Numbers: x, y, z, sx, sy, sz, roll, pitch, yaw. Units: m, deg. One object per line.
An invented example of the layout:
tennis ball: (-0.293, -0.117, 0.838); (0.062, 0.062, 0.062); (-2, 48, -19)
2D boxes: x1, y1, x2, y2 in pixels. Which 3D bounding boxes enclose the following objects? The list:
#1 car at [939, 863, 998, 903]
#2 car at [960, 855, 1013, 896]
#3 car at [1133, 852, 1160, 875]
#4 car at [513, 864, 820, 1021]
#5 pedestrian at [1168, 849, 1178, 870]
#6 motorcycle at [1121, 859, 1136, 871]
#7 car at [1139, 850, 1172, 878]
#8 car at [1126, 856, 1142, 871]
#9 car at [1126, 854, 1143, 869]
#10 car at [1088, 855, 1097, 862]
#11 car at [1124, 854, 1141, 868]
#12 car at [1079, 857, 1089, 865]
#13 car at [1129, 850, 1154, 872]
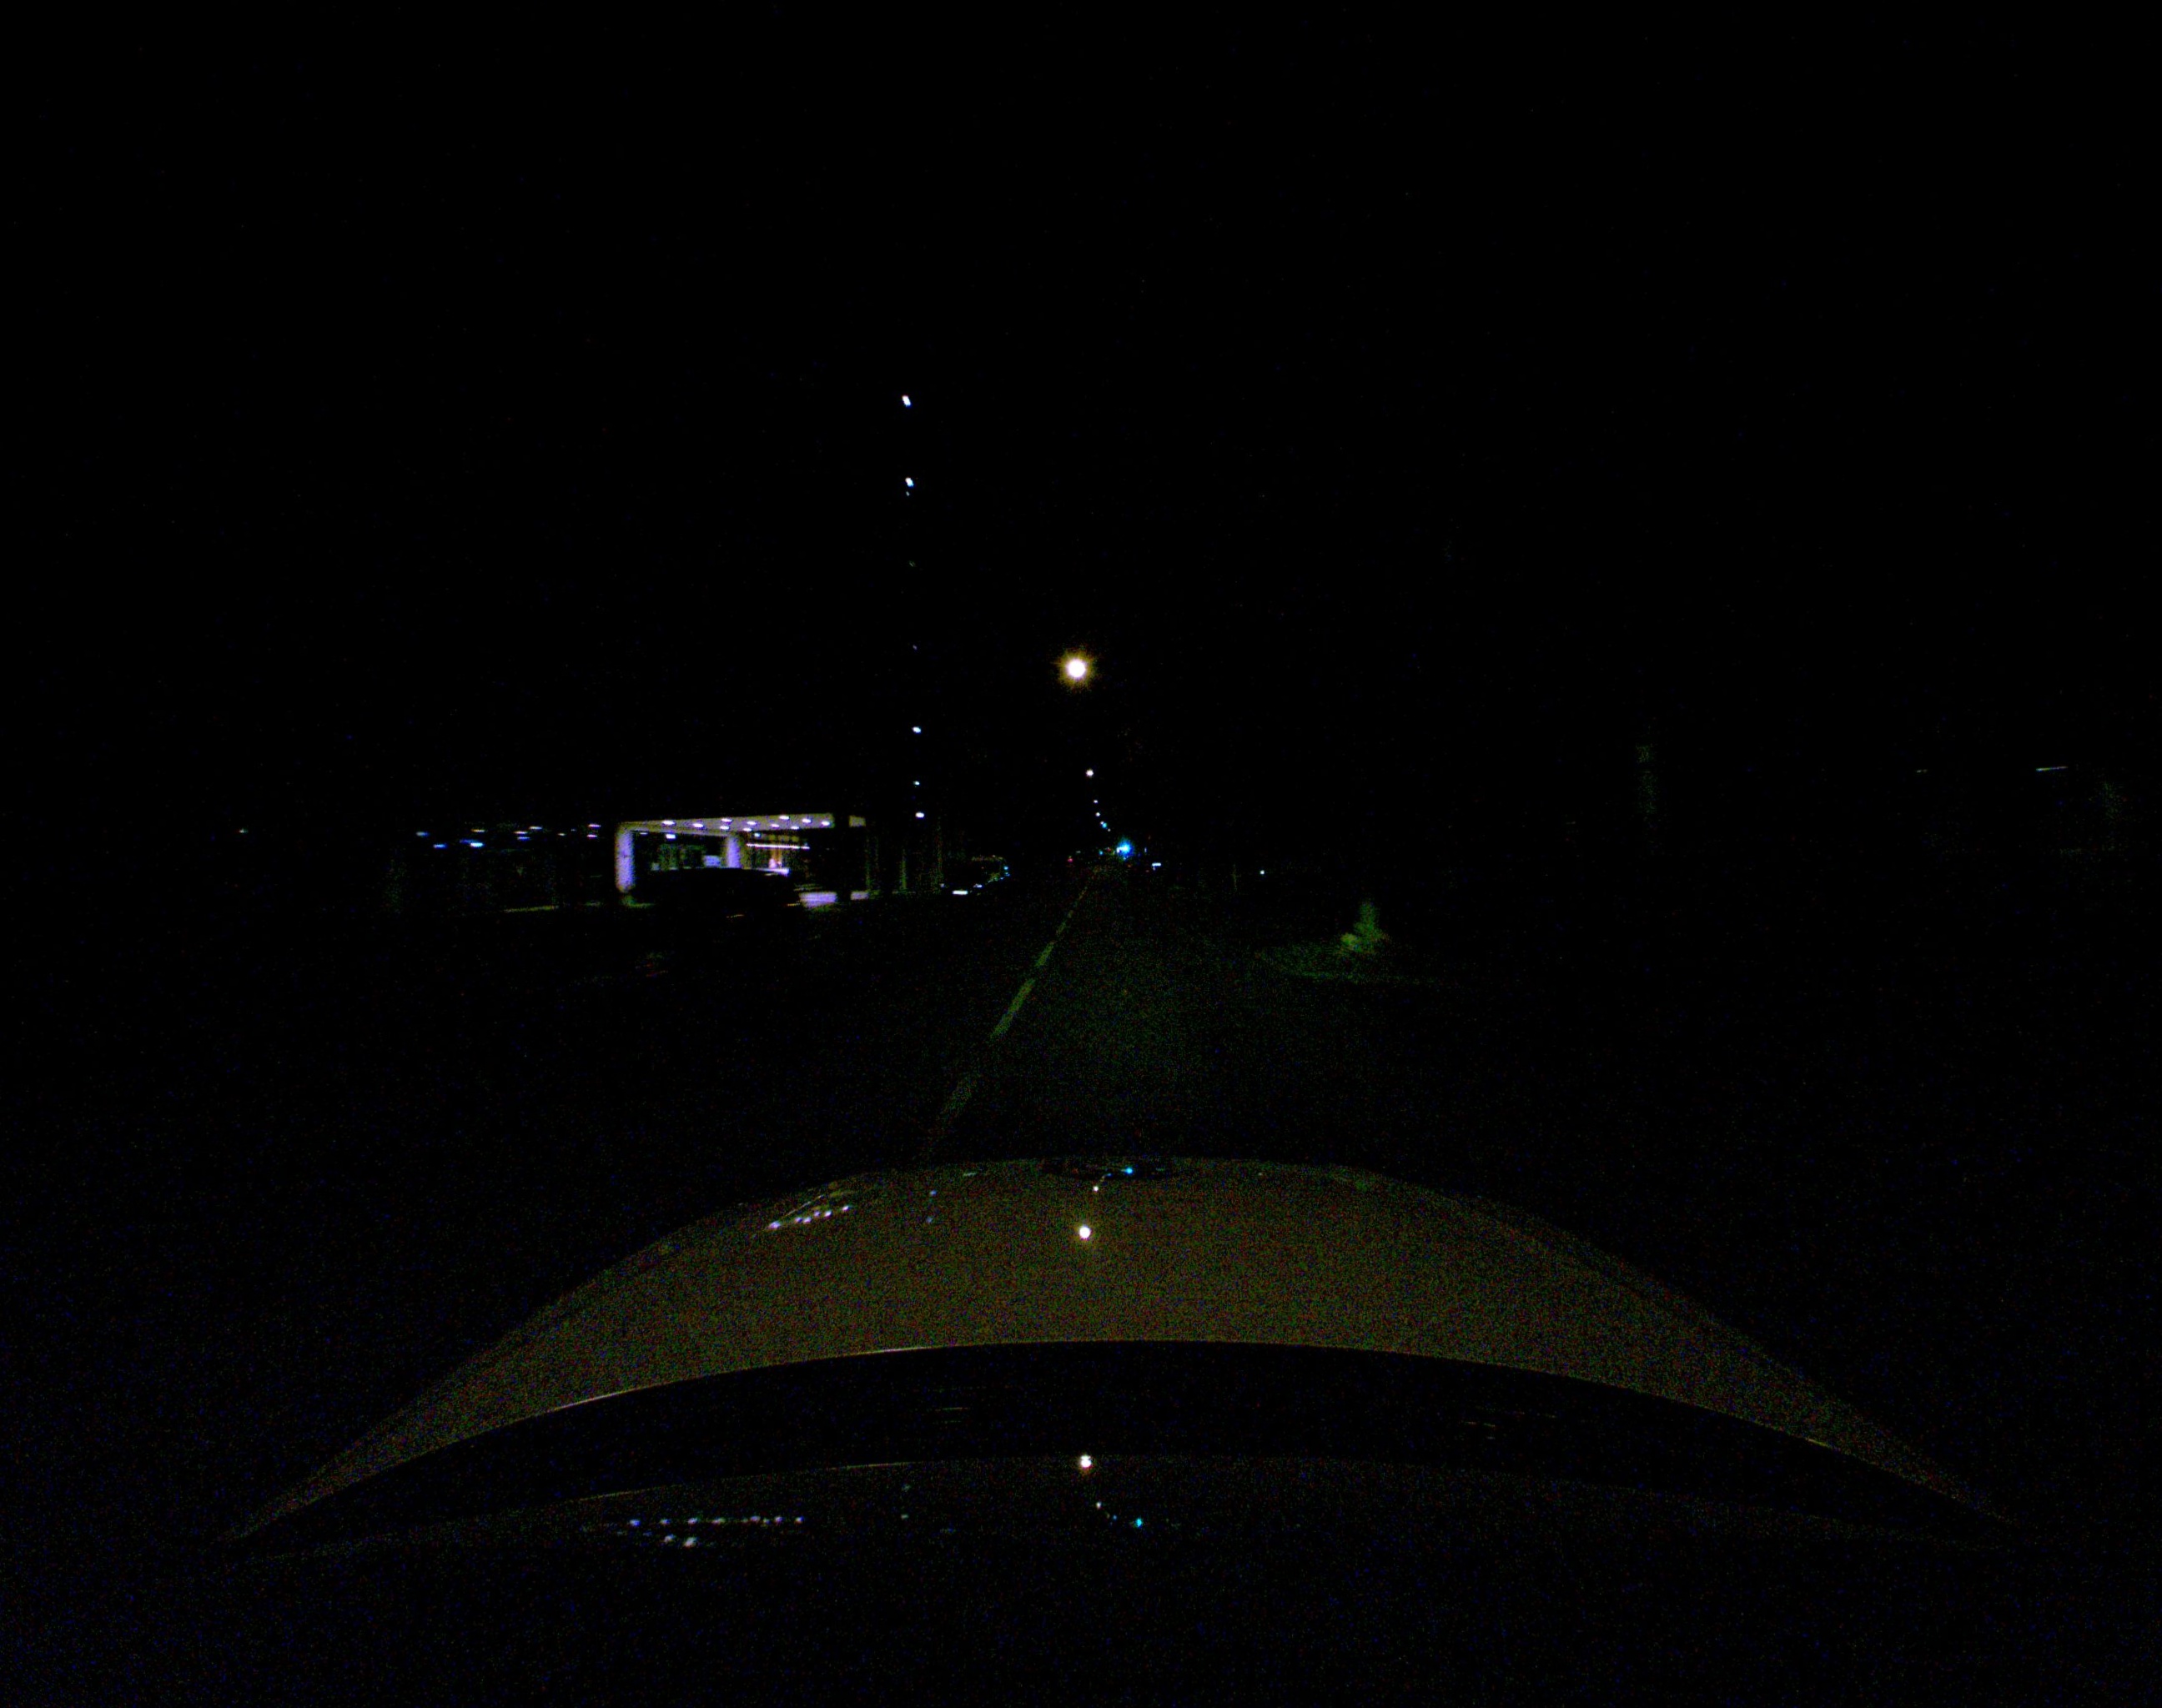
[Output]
car: (-4.472, 1.127, 32.860); (1.694, 1.433, 3.830); (1, 0, 2)
car: (-4.445, 0.967, 38.922); (1.815, 1.811, 4.213); (1, 0, 3)
car: (4.789, 0.668, 59.550); (1.844, 1.604, 4.215); (-2, 0, 5)
car: (-5.141, 0.977, 10.848); (1.815, 1.599, 4.076); (1, 0, 3)
pedestrian: (7.624, 0.476, 67.364); (0.703, 1.721, 0.822); (-4, -1, 2)
motorcycle: (5.515, 1.232, 93.932); (0.630, 1.270, 2.077); (-2, 0, 36)
car: (4.816, 0.630, 53.438); (1.846, 1.654, 4.211); (-4, 0, 2)
car: (5.280, 0.915, 81.371); (1.514, 1.396, 3.987); (-4, 0, 3)
car: (5.962, 0.827, 90.505); (1.585, 1.534, 4.139); (-4, 0, 1)
car: (2.490, 0.912, 175.653); (1.734, 1.415, 3.754); (-2, 1, 2)
car: (6.124, 0.792, 97.877); (1.846, 1.590, 4.301); (-2, 0, 1)
car: (0.572, 1.367, 161.383); (1.734, 1.416, 3.754); (-2, 0, 2)
car: (5.414, 0.637, 73.585); (1.766, 1.806, 4.276); (-4, 0, -1)
